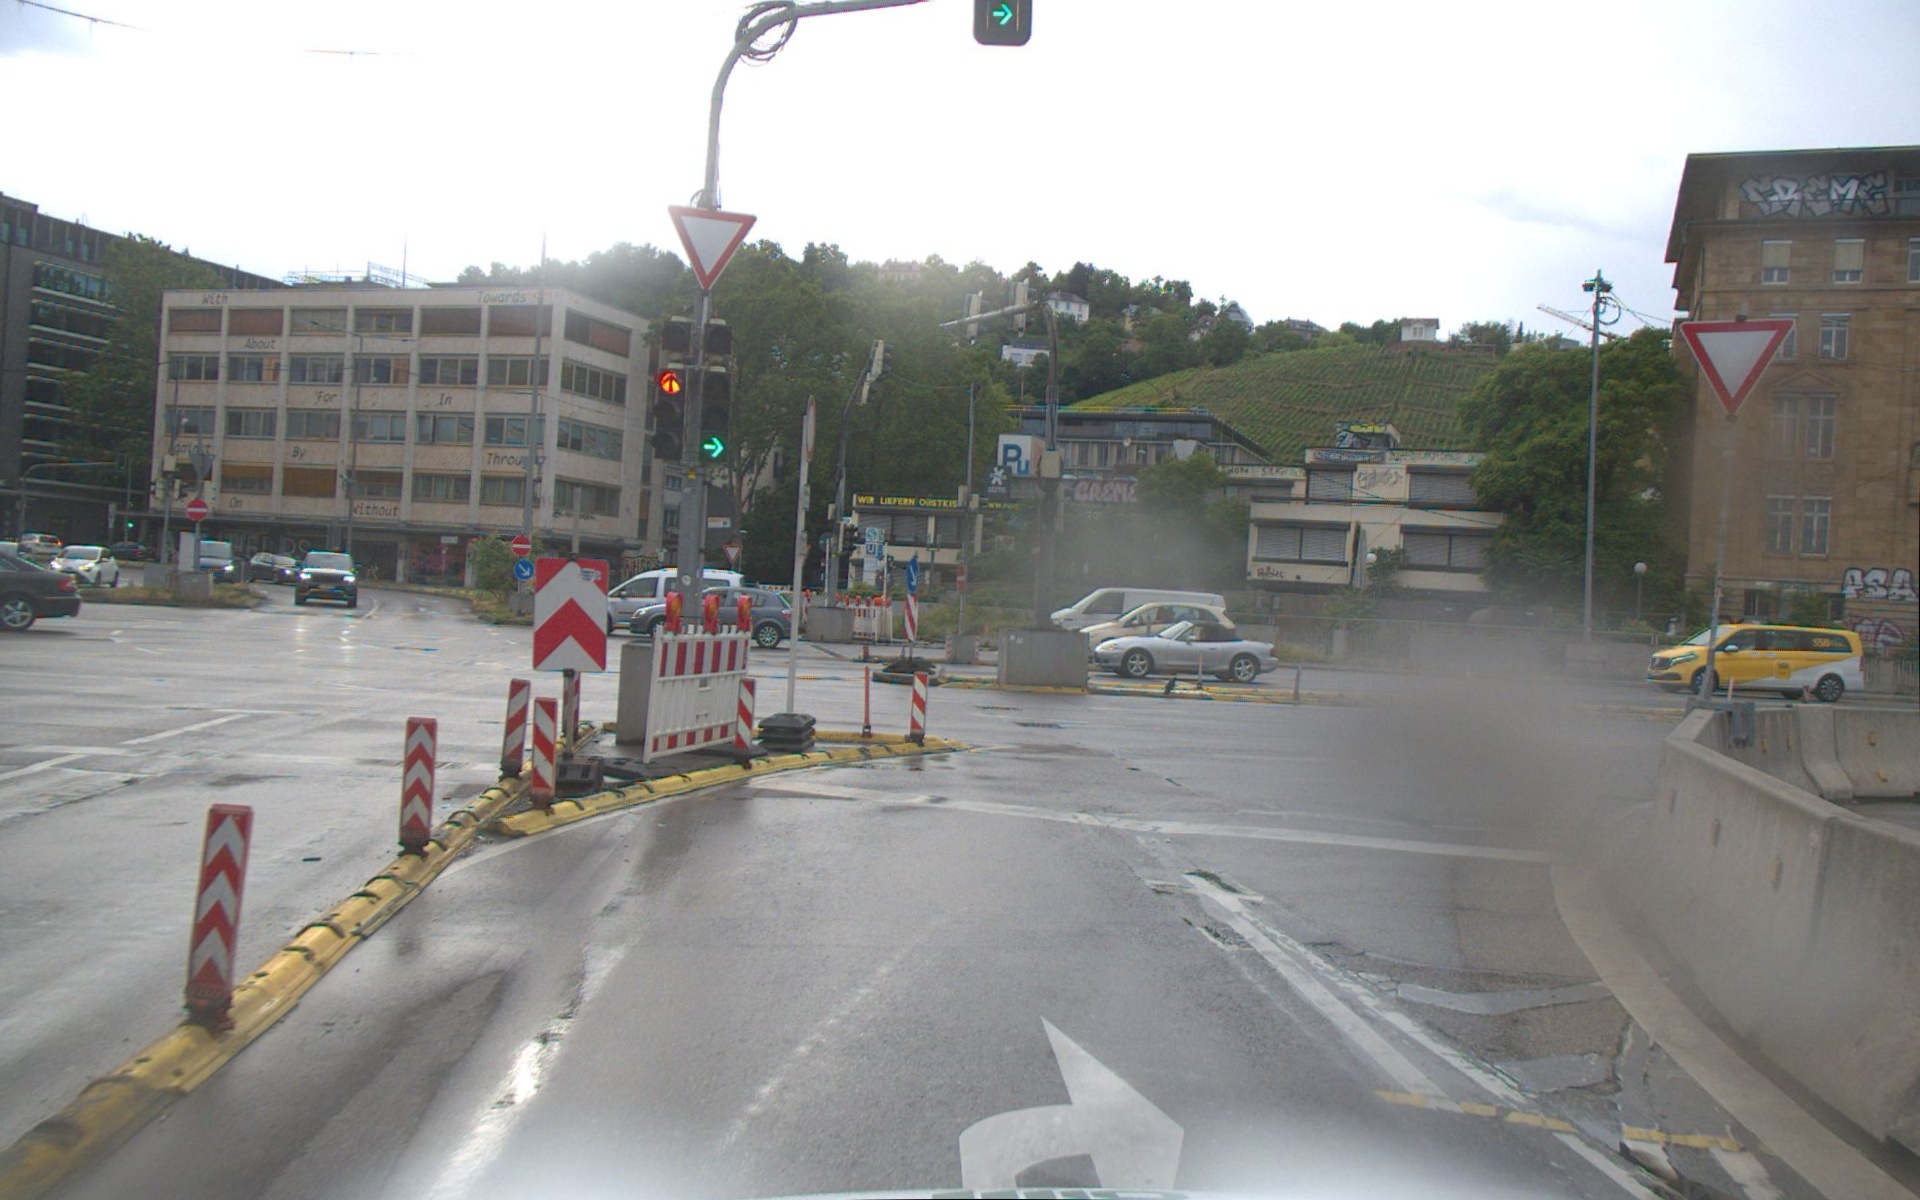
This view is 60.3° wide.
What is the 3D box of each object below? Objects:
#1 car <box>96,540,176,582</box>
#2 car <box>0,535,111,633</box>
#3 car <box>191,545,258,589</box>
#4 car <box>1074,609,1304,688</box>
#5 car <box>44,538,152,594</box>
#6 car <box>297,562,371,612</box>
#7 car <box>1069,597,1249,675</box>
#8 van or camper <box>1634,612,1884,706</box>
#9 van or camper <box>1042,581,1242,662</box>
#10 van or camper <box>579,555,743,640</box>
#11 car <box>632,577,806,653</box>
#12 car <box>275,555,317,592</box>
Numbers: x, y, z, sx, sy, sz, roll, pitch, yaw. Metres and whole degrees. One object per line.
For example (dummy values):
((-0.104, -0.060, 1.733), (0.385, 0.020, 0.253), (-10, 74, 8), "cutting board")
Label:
((-48.436, -2.292, 97.283), (3.907, 2.048, 1.999), (5, -1, 22), "car")
((-17.448, -0.363, 28.728), (4.605, 1.626, 1.996), (3, 0, -33), "car")
((-28.708, -1.280, 64.483), (1.865, 1.584, 3.958), (3, 0, -31), "car")
((4.702, 0.983, 34.290), (4.427, 1.332, 1.641), (3, 0, -5), "car")
((-31.186, -1.218, 59.953), (1.763, 1.847, 4.000), (3, 1, -1), "car")
((-21.008, -0.465, 55.664), (1.800, 1.512, 3.985), (3, 0, -14), "car")
((5.061, 0.914, 42.442), (4.279, 1.702, 1.847), (3, 0, -3), "car")
((21.003, 1.530, 43.620), (5.479, 2.090, 2.245), (3, 0, -4), "van or camper")
((4.974, 0.575, 45.519), (5.098, 1.926, 1.885), (3, 0, -8), "van or camper")
((-7.986, -0.077, 44.483), (4.162, 2.013, 1.848), (3, 0, -8), "van or camper")
((-5.935, 0.351, 40.907), (4.089, 1.626, 1.848), (3, 0, -8), "car")
((-32.324, -1.285, 80.566), (1.743, 1.601, 3.974), (5, -1, -22), "car")
